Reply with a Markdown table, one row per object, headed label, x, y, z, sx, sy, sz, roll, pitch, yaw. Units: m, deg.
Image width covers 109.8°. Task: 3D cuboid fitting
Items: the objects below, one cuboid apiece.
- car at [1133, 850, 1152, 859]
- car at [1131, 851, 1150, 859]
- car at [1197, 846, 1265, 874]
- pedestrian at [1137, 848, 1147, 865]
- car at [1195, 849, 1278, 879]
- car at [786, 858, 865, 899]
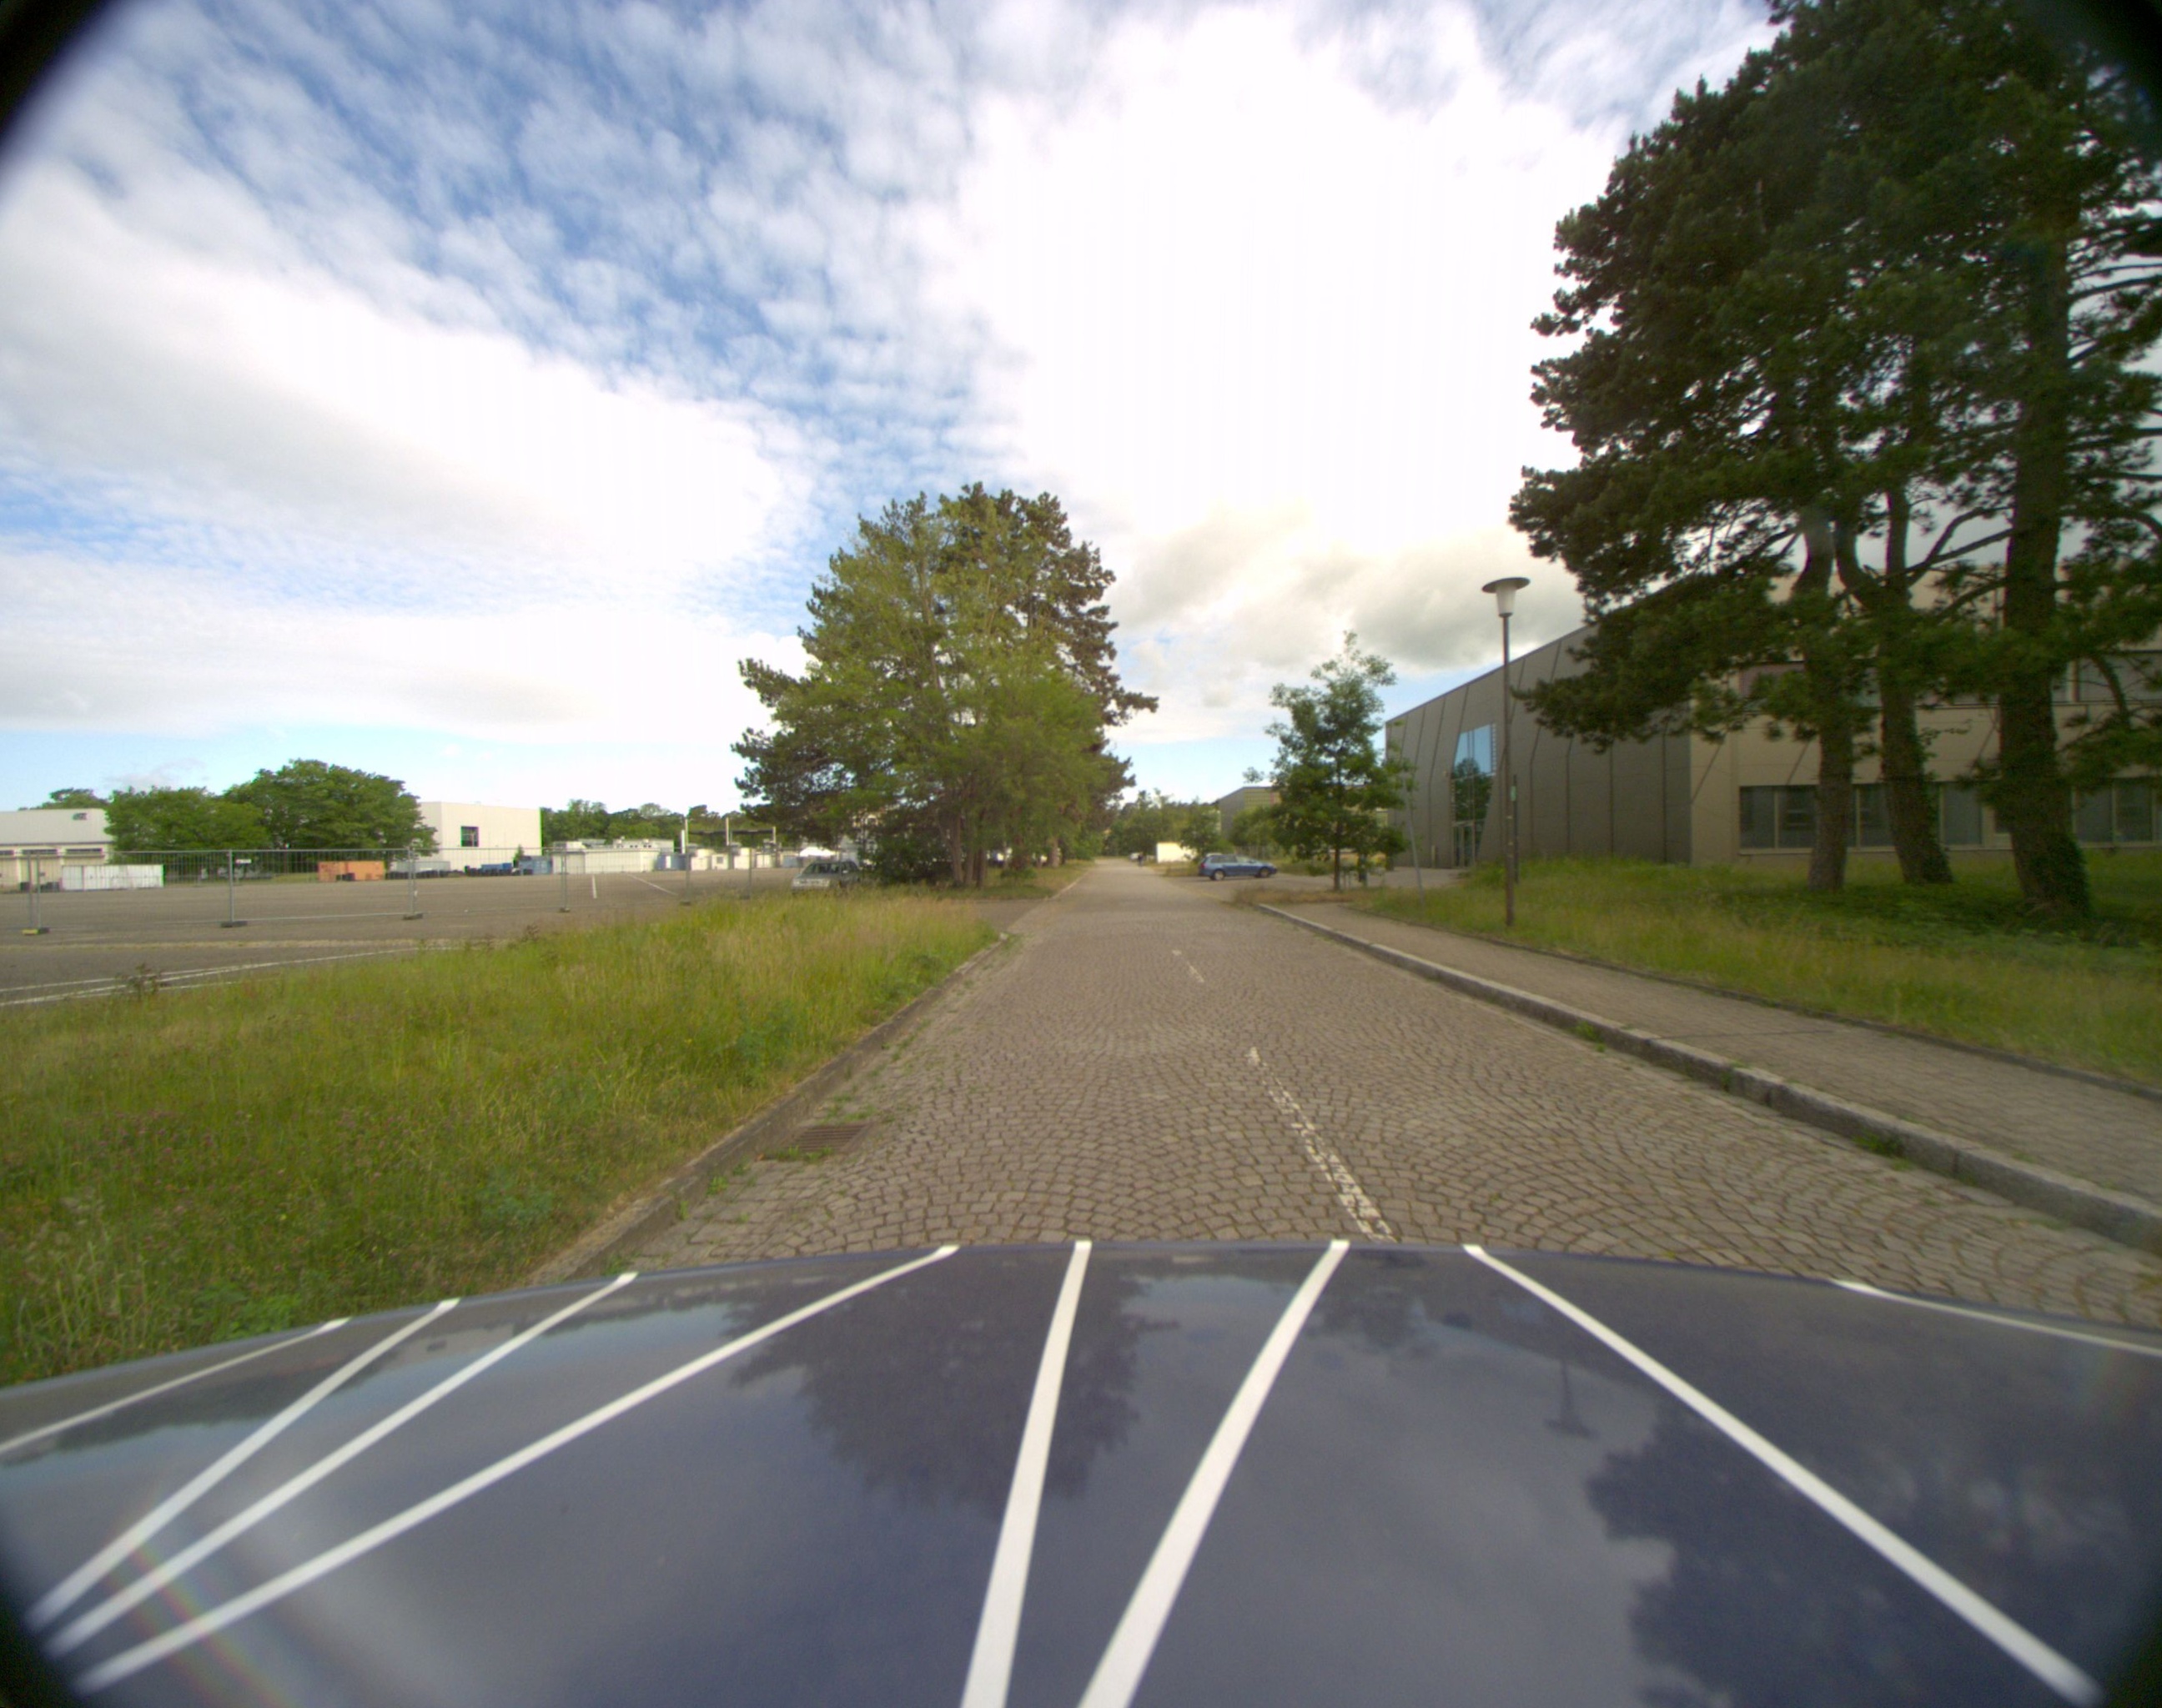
| label | x | y | z | sx | sy | sz | roll | pitch | yaw |
| --- | --- | --- | --- | --- | --- | --- | --- | --- | --- |
| car | 12.864 | 0.016 | 158.995 | 4.077 | 1.828 | 1.786 | -1 | 1 | 5 |
| car | 12.619 | 0.149 | 161.278 | 4.077 | 1.565 | 1.786 | -1 | 1 | 4 |
| car | 10.191 | 0.402 | 51.782 | 4.193 | 1.577 | 1.838 | -3 | 1 | 0 |
| pedestrian | 6.291 | 0.258 | 78.180 | 0.874 | 1.713 | 1.007 | -1 | 1 | 7 |
| car | 9.029 | 0.585 | 44.387 | 4.414 | 1.455 | 1.838 | -3 | 1 | 0 |
| car | -10.100 | 0.929 | 30.399 | 1.863 | 1.466 | 4.150 | -1 | 1 | -2 |
